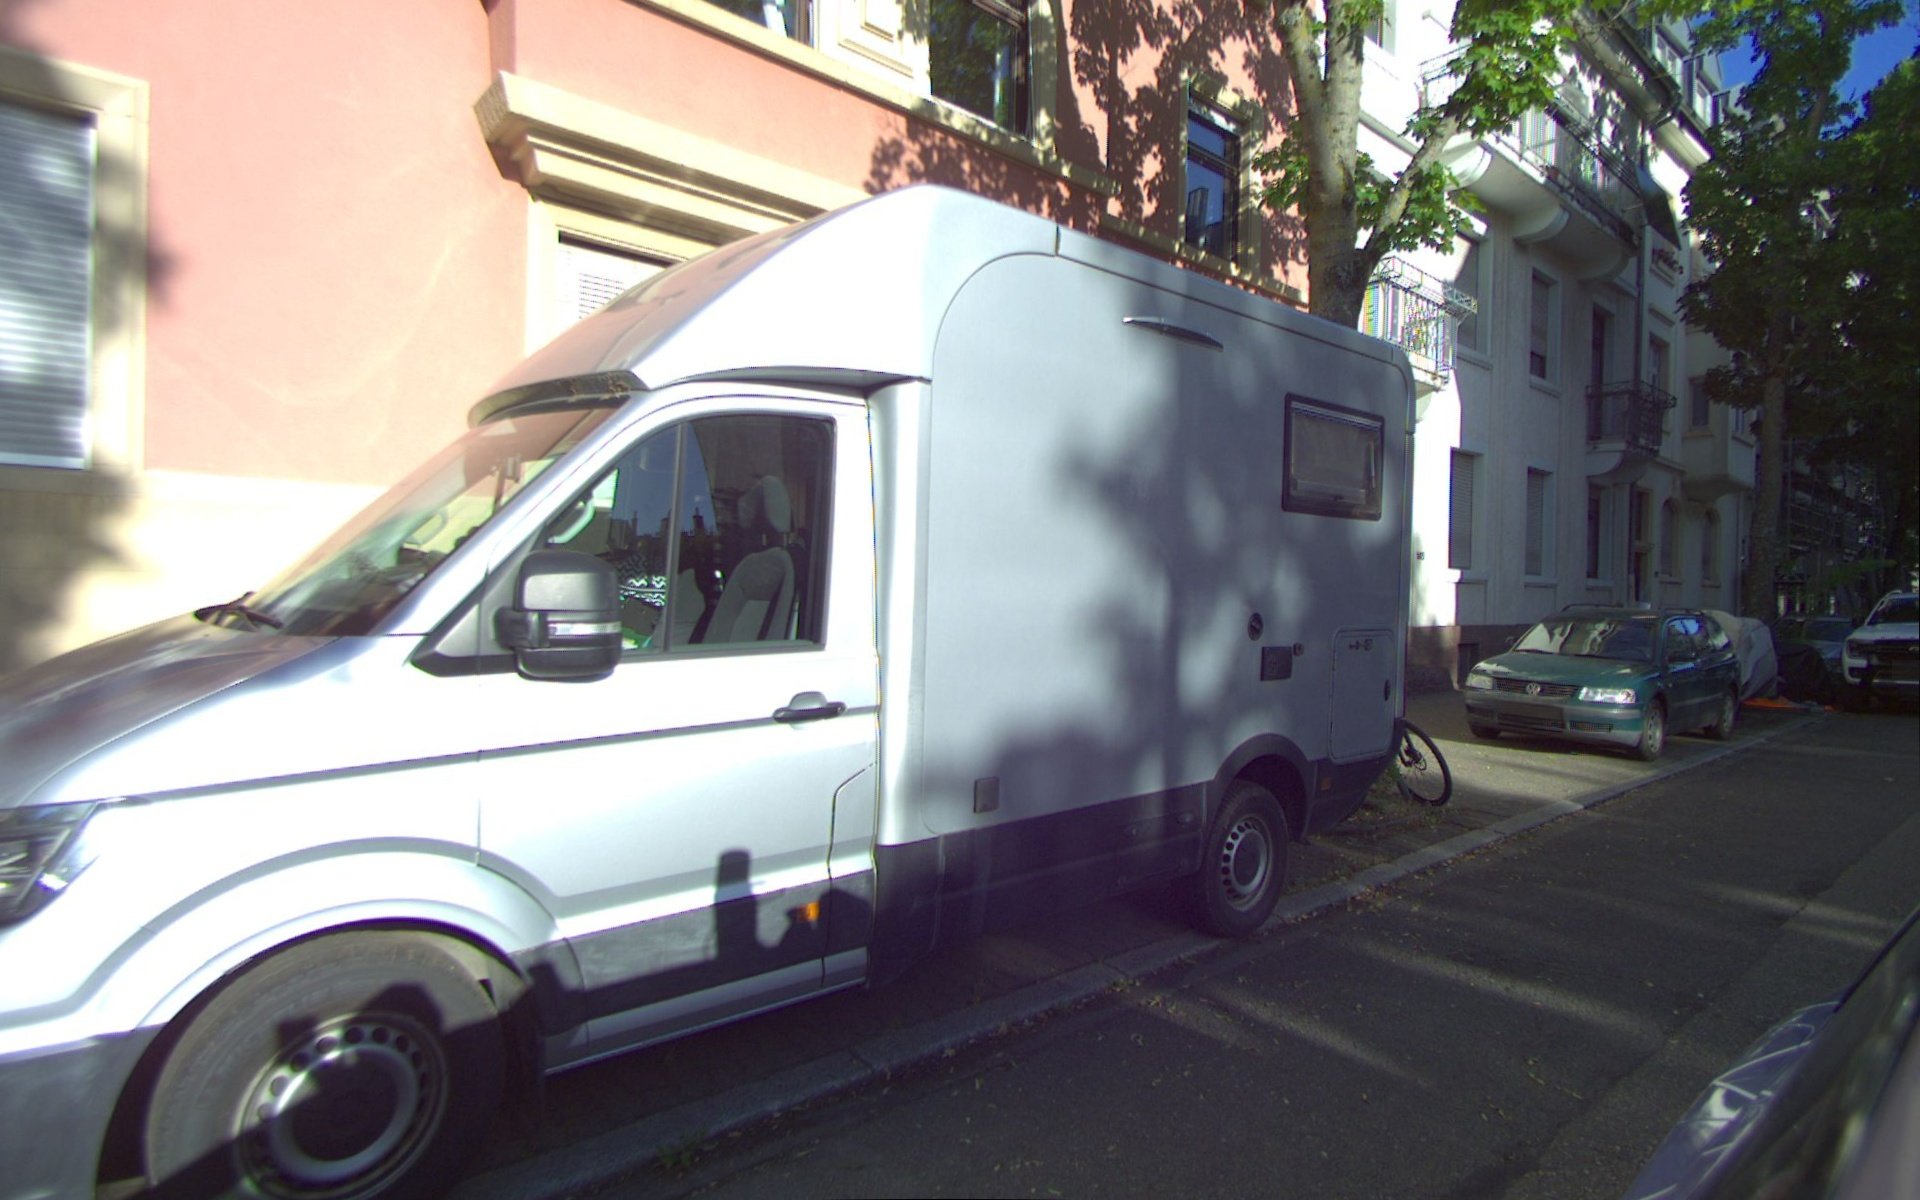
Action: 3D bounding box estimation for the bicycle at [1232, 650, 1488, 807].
[{"bbox_3d":[3.029,0.929,7.836,0.568,0.961,1.790,1,0,-38],"label":"bicycle"}]

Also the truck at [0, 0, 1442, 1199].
[{"bbox_3d":[-0.425,-0.185,4.227,6.003,3.004,2.078,1,3,-42],"label":"truck"}]

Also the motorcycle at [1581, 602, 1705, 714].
[{"bbox_3d":[9.572,0.761,14.145,2.194,1.434,0.863,1,0,-40],"label":"motorcycle"}]

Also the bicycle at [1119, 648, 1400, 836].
[{"bbox_3d":[1.995,0.892,6.903,1.703,1.012,0.695,2,0,44],"label":"bicycle"}]

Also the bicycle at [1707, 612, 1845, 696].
[{"bbox_3d":[14.015,0.892,17.415,0.576,1.321,1.762,1,1,-41],"label":"bicycle"}]

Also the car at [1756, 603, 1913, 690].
[{"bbox_3d":[17.109,0.838,19.733,4.352,1.439,1.683,1,2,-41],"label":"car"}]

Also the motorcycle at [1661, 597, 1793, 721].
[{"bbox_3d":[10.197,0.729,13.434,2.099,1.505,0.932,1,0,-40],"label":"motorcycle"}]

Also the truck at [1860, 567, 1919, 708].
[{"bbox_3d":[15.727,0.558,15.761,5.442,1.973,1.832,1,0,-41],"label":"truck"}]

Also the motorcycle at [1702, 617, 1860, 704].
[{"bbox_3d":[12.595,0.909,15.570,1.737,1.256,0.700,1,0,11],"label":"motorcycle"}]

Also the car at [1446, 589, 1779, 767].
[{"bbox_3d":[7.414,0.718,11.288,4.695,1.548,1.755,1,2,-40],"label":"car"}]

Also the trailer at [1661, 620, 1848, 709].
[{"bbox_3d":[11.519,0.894,14.787,2.074,1.126,1.101,1,0,36],"label":"trailer"}]
